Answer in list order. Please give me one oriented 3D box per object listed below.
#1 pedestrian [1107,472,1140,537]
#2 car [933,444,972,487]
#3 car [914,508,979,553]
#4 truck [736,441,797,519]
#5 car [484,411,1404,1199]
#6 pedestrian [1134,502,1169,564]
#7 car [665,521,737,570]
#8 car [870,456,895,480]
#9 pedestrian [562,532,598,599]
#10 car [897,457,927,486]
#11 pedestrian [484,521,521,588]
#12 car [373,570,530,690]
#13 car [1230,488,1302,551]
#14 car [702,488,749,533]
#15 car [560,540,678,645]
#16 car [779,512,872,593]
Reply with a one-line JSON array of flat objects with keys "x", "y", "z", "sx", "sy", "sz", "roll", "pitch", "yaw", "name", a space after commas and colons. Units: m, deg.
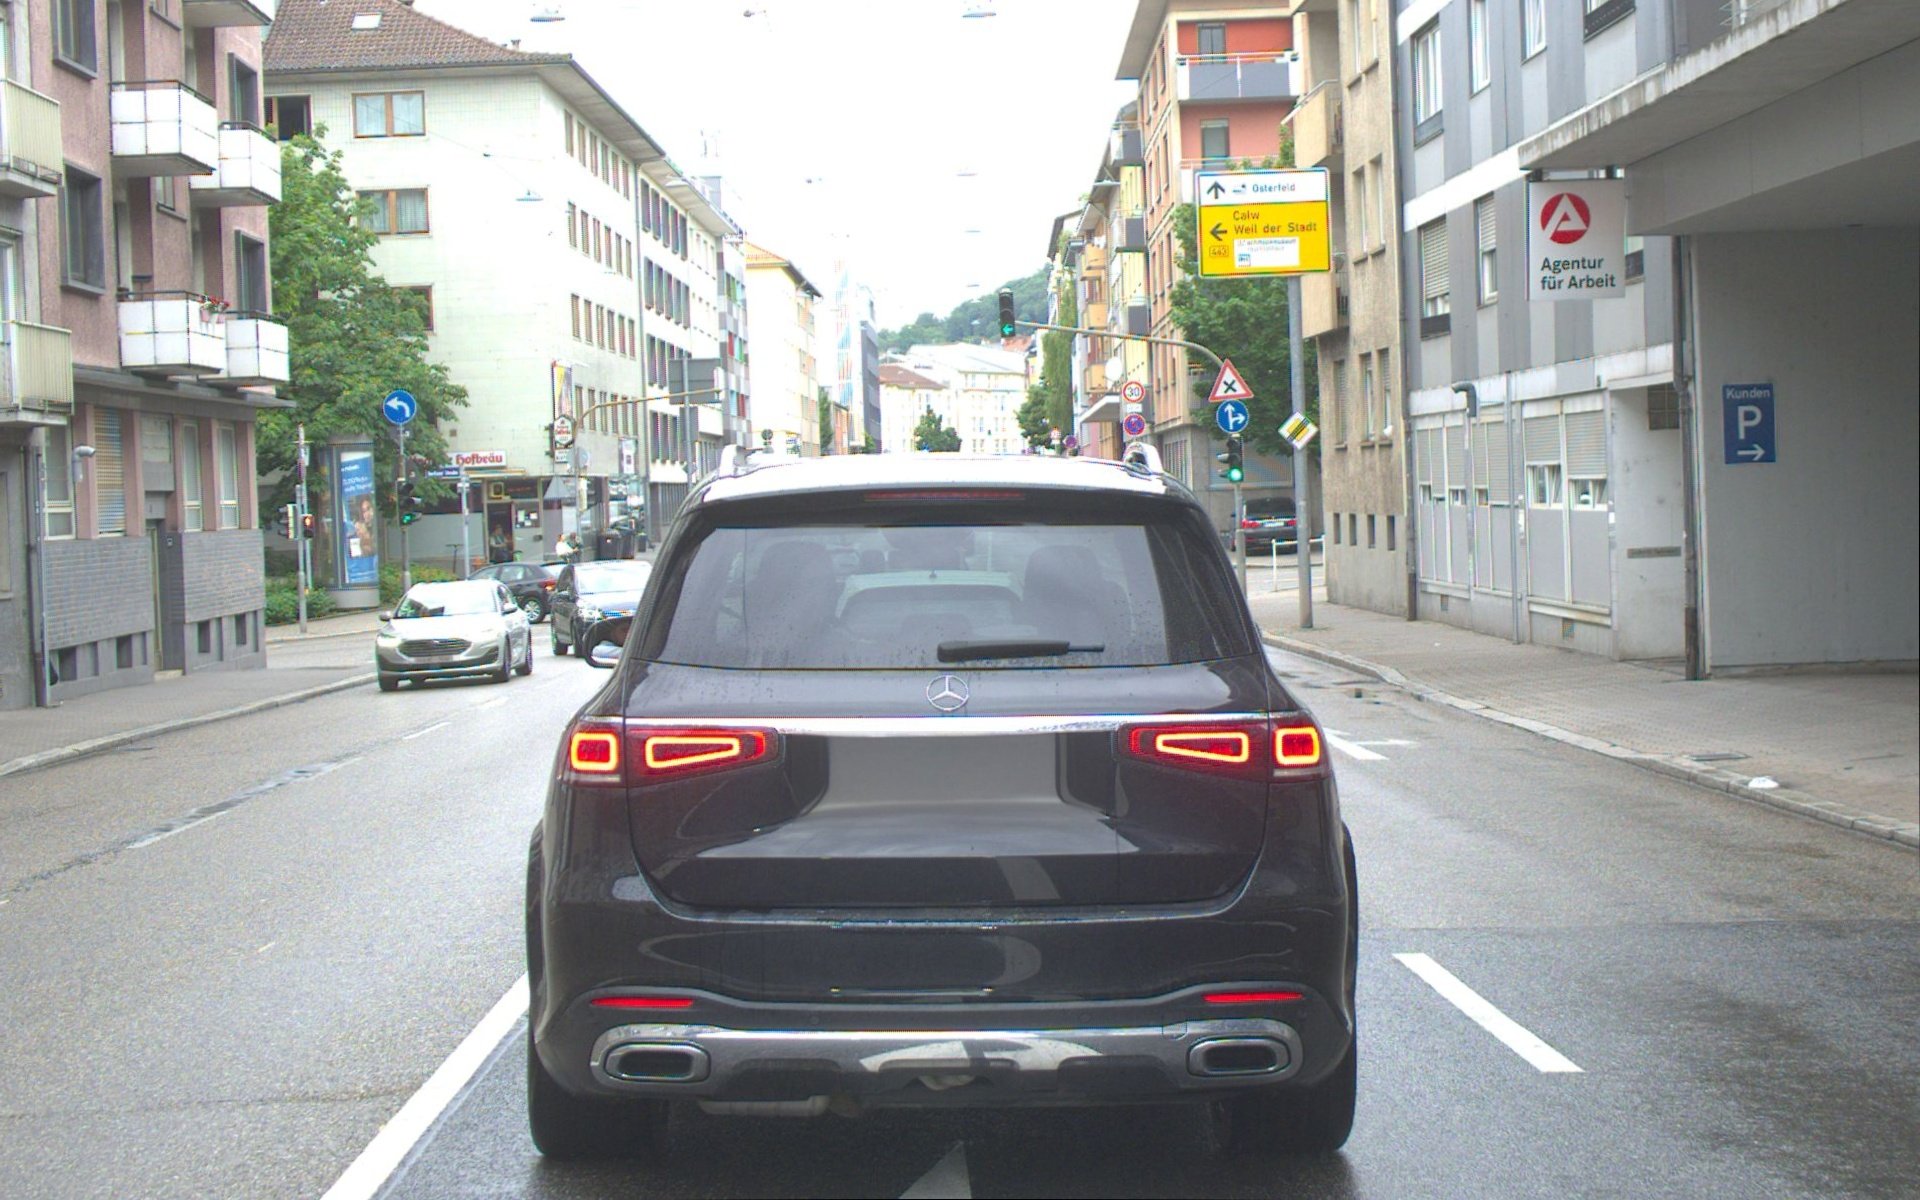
[{"x": 5.181, "y": -3.032, "z": 109.128, "sx": 0.923, "sy": 2.007, "sz": 0.706, "roll": -2, "pitch": 1, "yaw": -2, "name": "pedestrian"}, {"x": -0.395, "y": -6.779, "z": 173.522, "sx": 1.723, "sy": 1.754, "sz": 4.218, "roll": -3, "pitch": -1, "yaw": -3, "name": "car"}, {"x": -0.459, "y": -2.296, "z": 114.034, "sx": 1.993, "sy": 1.347, "sz": 4.000, "roll": -3, "pitch": 1, "yaw": -1, "name": "car"}, {"x": -8.687, "y": -5.337, "z": 154.630, "sx": 2.479, "sy": 3.035, "sz": 9.921, "roll": -3, "pitch": 0, "yaw": -3, "name": "truck"}, {"x": -0.061, "y": 0.488, "z": 9.705, "sx": 1.985, "sy": 1.799, "sz": 4.390, "roll": 1, "pitch": 0, "yaw": -1, "name": "car"}, {"x": 5.654, "y": -1.984, "z": 101.536, "sx": 0.923, "sy": 1.798, "sz": 0.706, "roll": -2, "pitch": 1, "yaw": -2, "name": "pedestrian"}, {"x": -7.388, "y": -1.541, "z": 98.362, "sx": 1.885, "sy": 1.260, "sz": 4.218, "roll": -3, "pitch": 0, "yaw": -3, "name": "car"}, {"x": -5.588, "y": -9.509, "z": 247.705, "sx": 1.618, "sy": 1.534, "sz": 4.218, "roll": -3, "pitch": 0, "yaw": -3, "name": "car"}, {"x": -10.191, "y": -0.930, "z": 92.280, "sx": 0.636, "sy": 1.758, "sz": 0.772, "roll": -2, "pitch": 1, "yaw": 18, "name": "pedestrian"}, {"x": -2.906, "y": -7.744, "z": 207.902, "sx": 1.618, "sy": 1.534, "sz": 4.218, "roll": -3, "pitch": 0, "yaw": -3, "name": "car"}, {"x": -13.270, "y": -1.327, "z": 99.640, "sx": 0.923, "sy": 1.895, "sz": 0.706, "roll": -2, "pitch": 1, "yaw": -2, "name": "pedestrian"}, {"x": -7.198, "y": 0.403, "z": 49.045, "sx": 1.772, "sy": 1.534, "sz": 4.359, "roll": -3, "pitch": 0, "yaw": -4, "name": "car"}, {"x": 8.188, "y": -2.158, "z": 92.228, "sx": 1.671, "sy": 1.583, "sz": 3.330, "roll": -2, "pitch": 1, "yaw": 2, "name": "car"}, {"x": -8.806, "y": -3.356, "z": 129.232, "sx": 1.618, "sy": 1.534, "sz": 4.218, "roll": -3, "pitch": 0, "yaw": -3, "name": "car"}, {"x": -5.995, "y": -0.162, "z": 60.076, "sx": 1.772, "sy": 1.640, "sz": 4.413, "roll": -4, "pitch": 2, "yaw": -8, "name": "car"}, {"x": -2.768, "y": -0.960, "z": 71.308, "sx": 1.772, "sy": 1.534, "sz": 4.359, "roll": -3, "pitch": 0, "yaw": -2, "name": "car"}]
